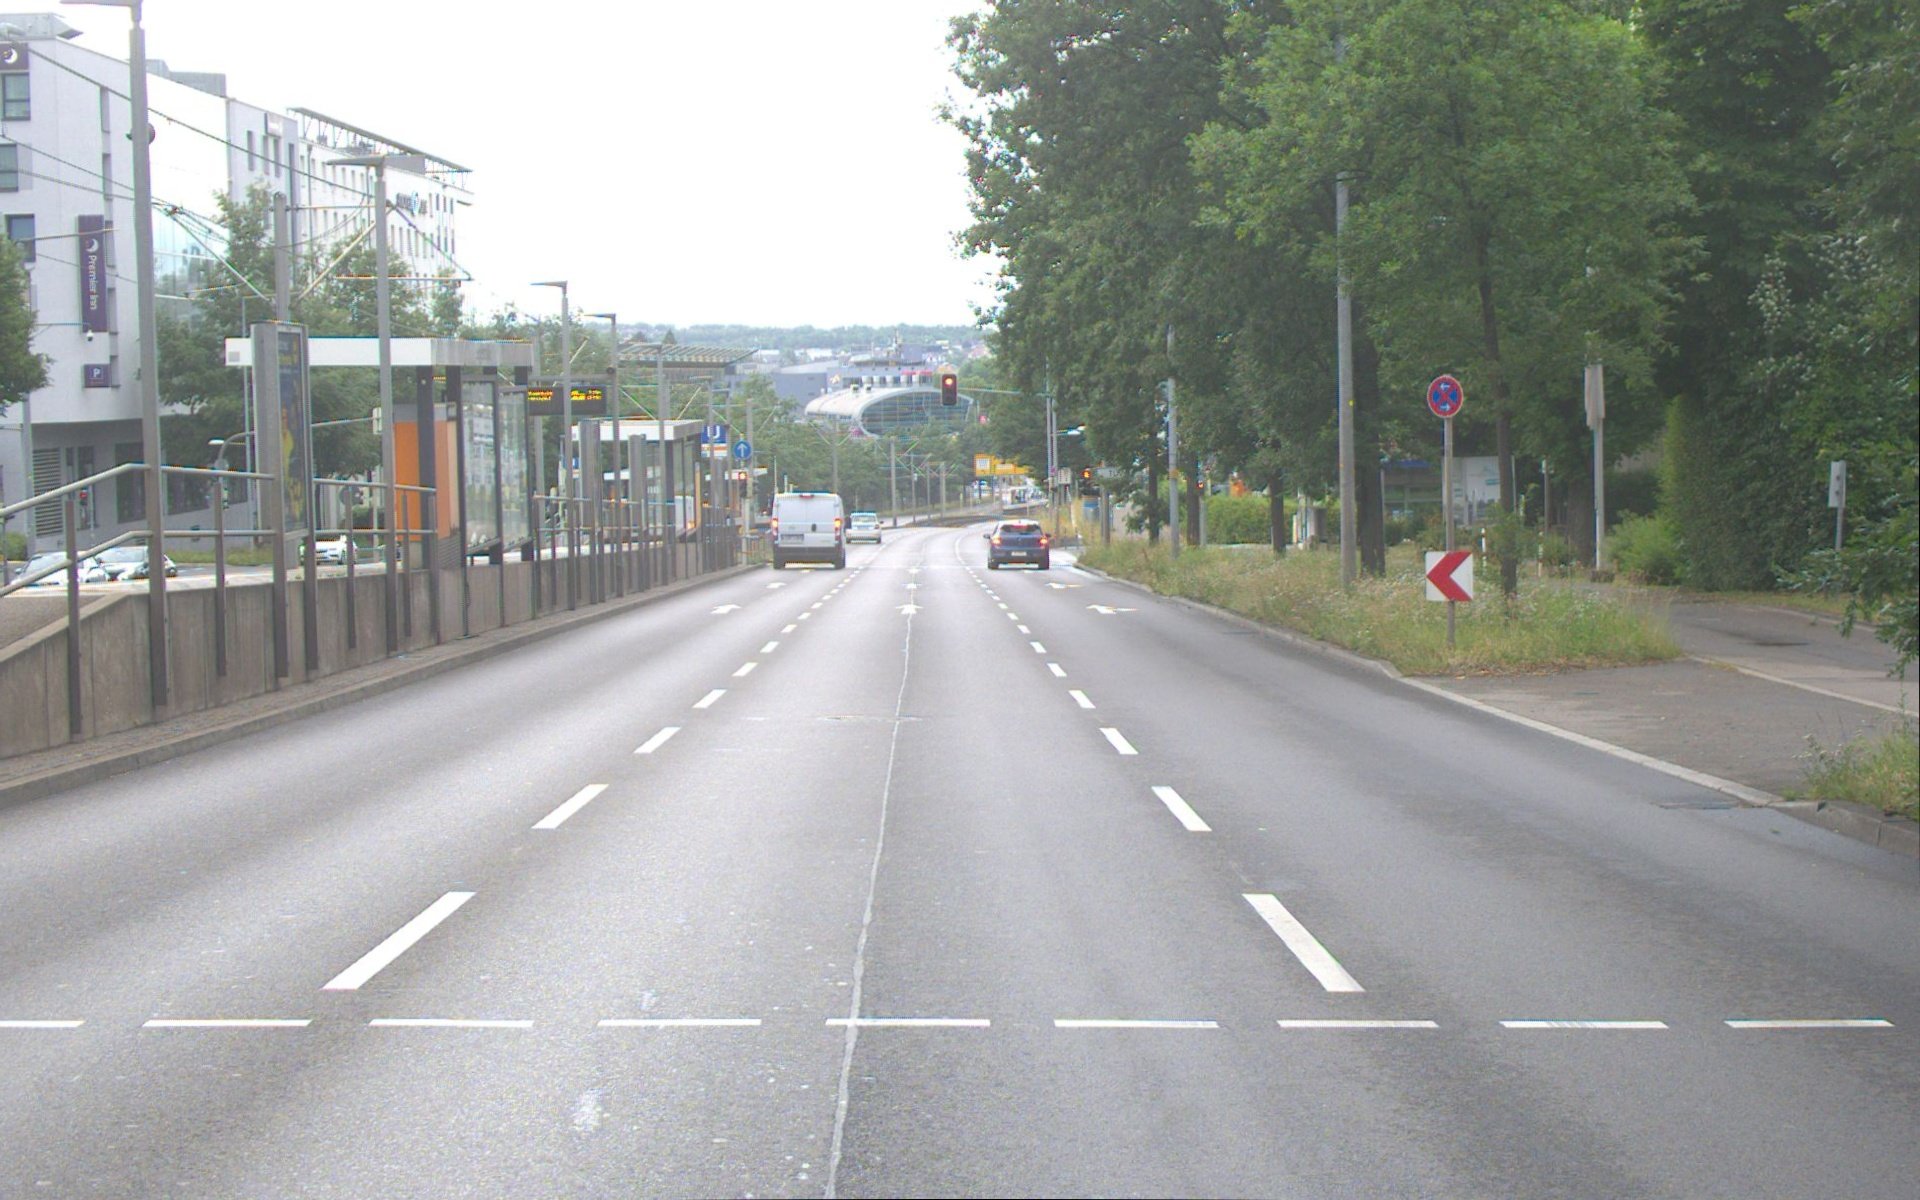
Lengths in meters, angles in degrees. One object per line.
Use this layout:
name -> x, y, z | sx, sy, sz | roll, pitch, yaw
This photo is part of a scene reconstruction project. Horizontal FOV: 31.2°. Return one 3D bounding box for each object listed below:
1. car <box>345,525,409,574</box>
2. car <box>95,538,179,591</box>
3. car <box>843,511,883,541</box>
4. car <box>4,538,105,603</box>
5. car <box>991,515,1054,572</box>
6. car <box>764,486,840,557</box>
car -> -18.187, -1.568, 107.158 | 1.650, 1.431, 3.881 | -3, 1, -13
car -> -22.273, -0.983, 93.129 | 1.567, 1.374, 3.519 | 0, 2, -2
car -> -4.642, -3.544, 164.530 | 1.783, 1.385, 4.000 | 0, 1, 0
car -> -21.636, -0.726, 82.232 | 1.650, 1.431, 3.881 | -3, 1, -5
car -> 1.844, -1.707, 102.790 | 1.774, 1.685, 3.846 | 0, 1, -1
car -> -4.689, -2.336, 102.477 | 2.093, 2.046, 4.607 | 0, 1, -1
